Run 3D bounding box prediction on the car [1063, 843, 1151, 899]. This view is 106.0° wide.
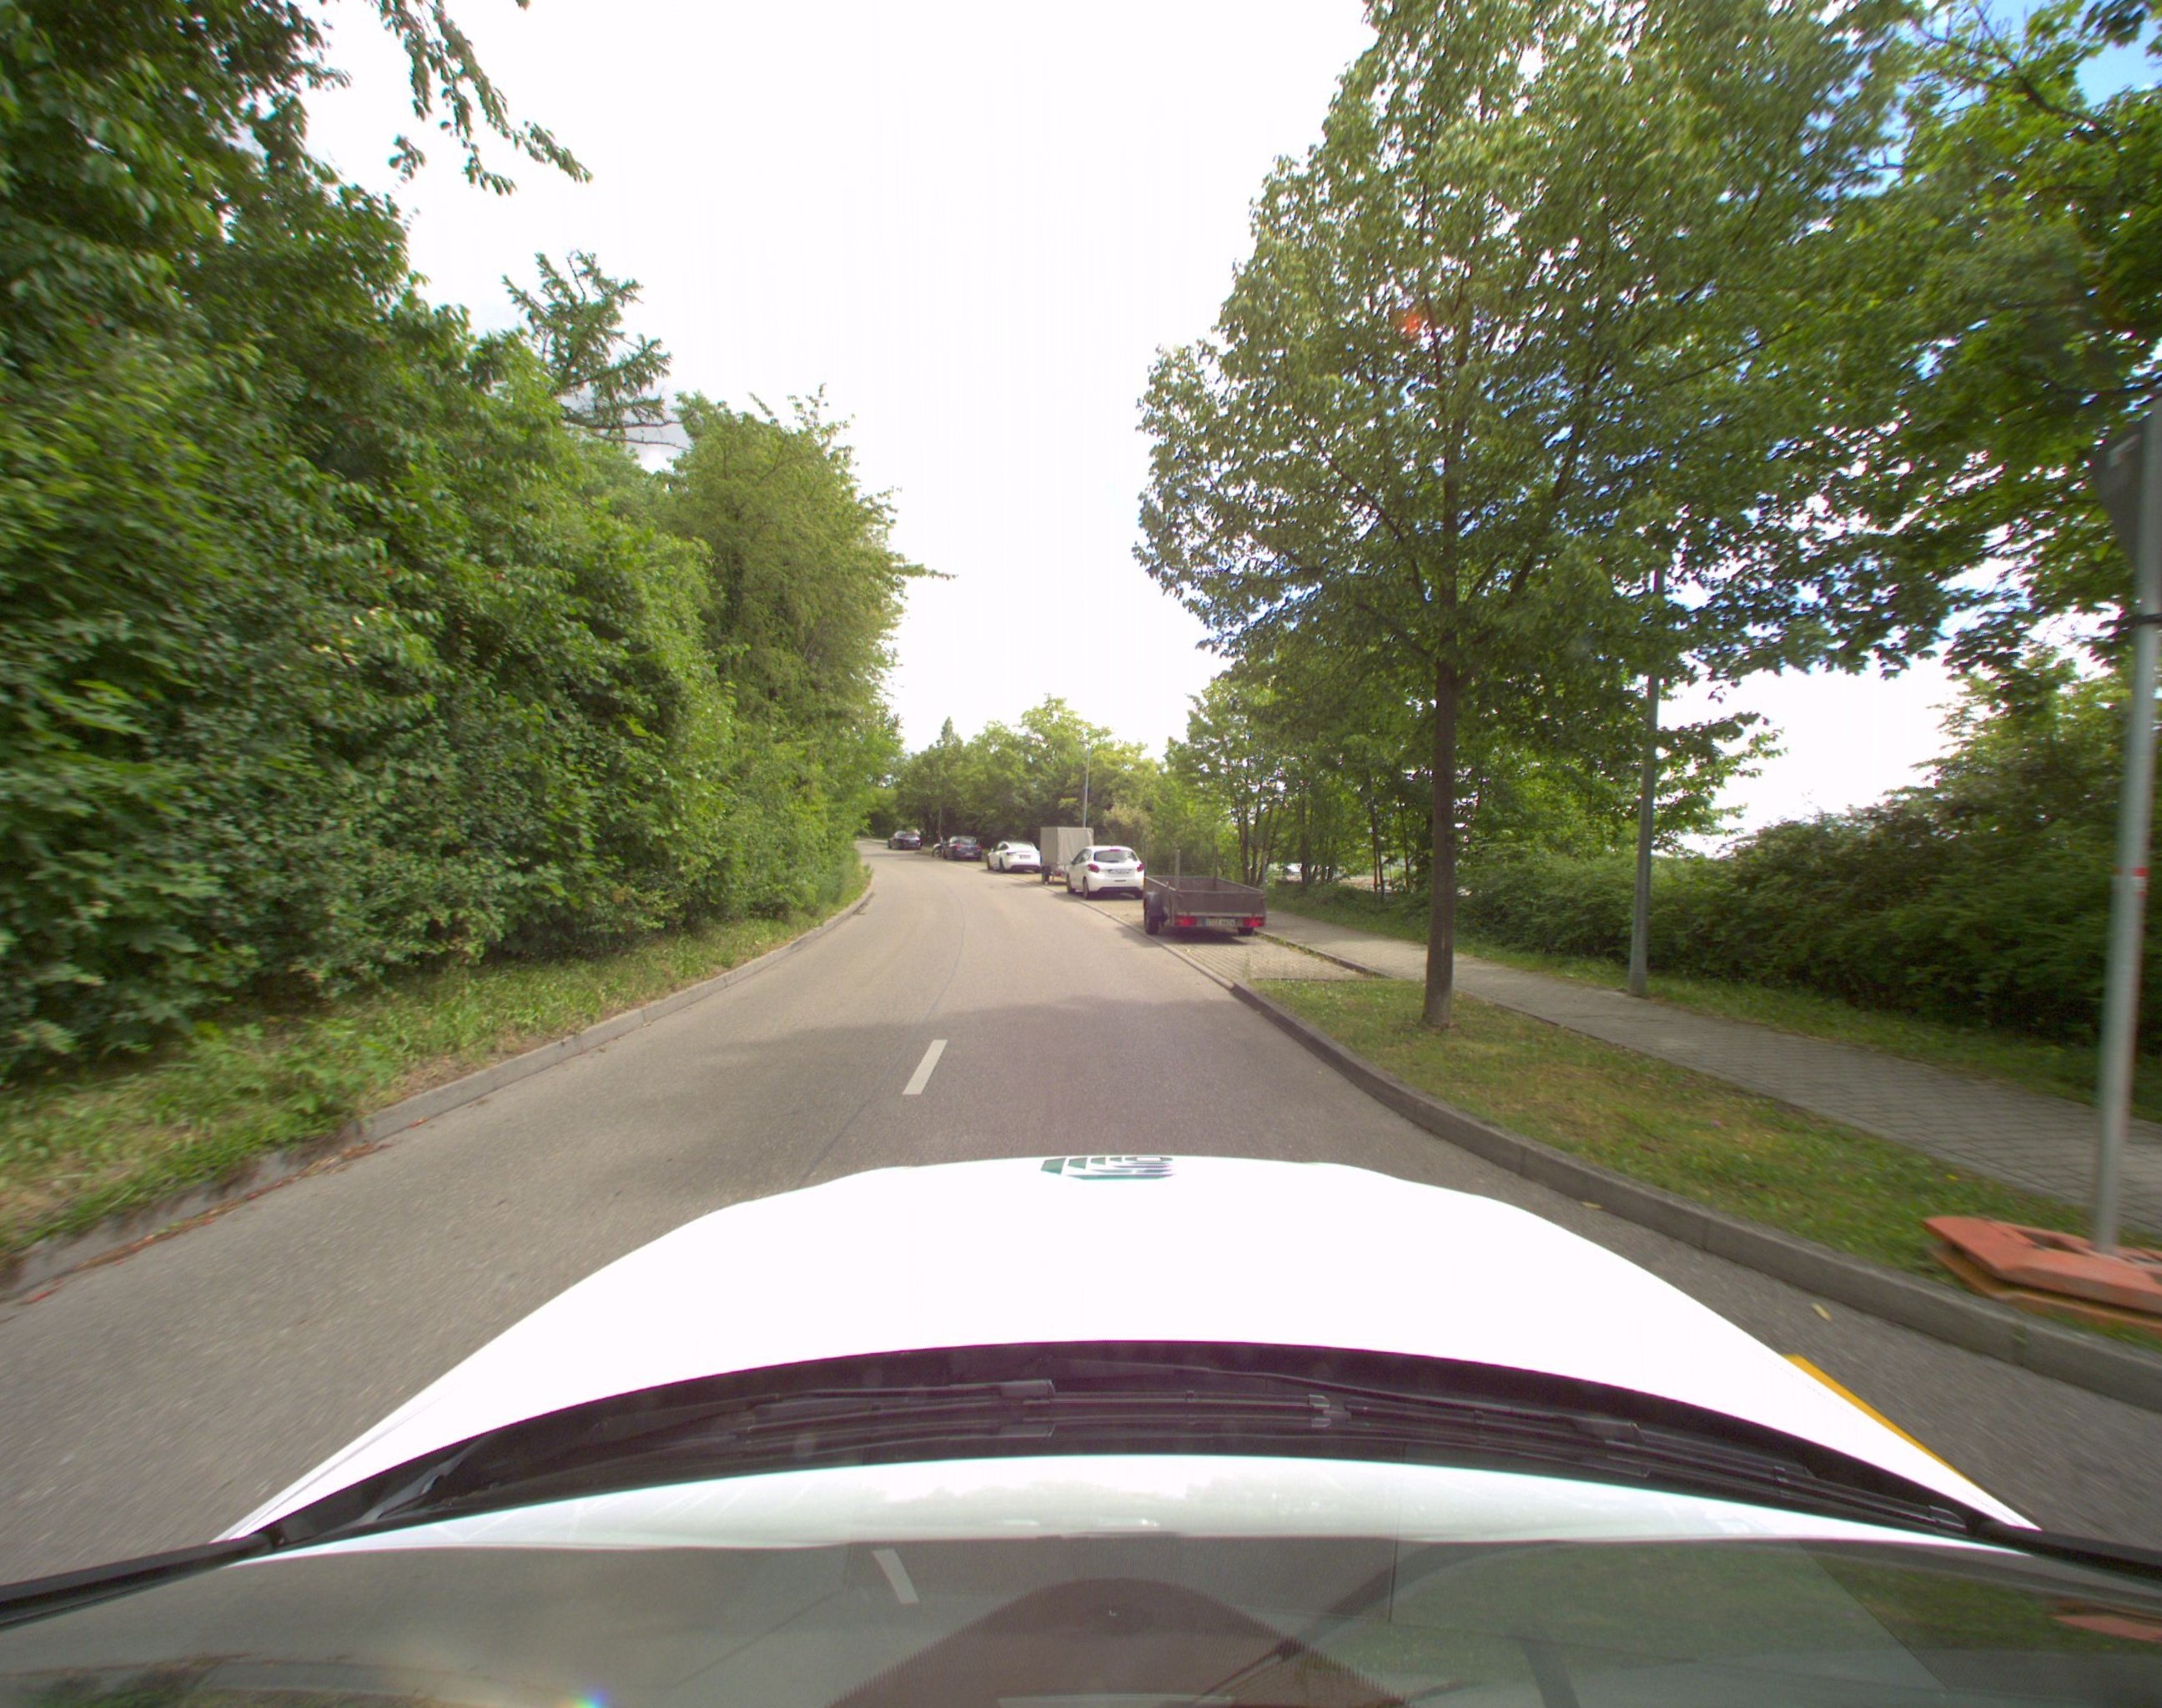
[{"bbox_3d":[0.670,0.431,23.857,1.769,1.411,3.987,0,2,-10],"label":"car"}]

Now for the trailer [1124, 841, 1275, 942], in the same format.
[{"bbox_3d":[1.957,0.565,14.680,1.782,1.526,3.993,1,1,-6],"label":"trailer"}]

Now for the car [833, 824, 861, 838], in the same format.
[{"bbox_3d":[-23.139,-2.322,80.511,1.852,1.332,3.965,0,2,-28],"label":"car"}]

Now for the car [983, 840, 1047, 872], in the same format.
[{"bbox_3d":[-3.148,0.057,38.077,1.892,1.376,4.323,1,1,-20],"label":"car"}]

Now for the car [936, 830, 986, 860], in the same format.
[{"bbox_3d":[-7.305,-0.573,49.411,1.895,1.687,4.318,-2,2,-24],"label":"car"}]

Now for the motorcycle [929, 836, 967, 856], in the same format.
[{"bbox_3d":[-8.581,-0.528,52.727,2.151,1.265,1.074,1,3,16],"label":"motorcycle"}]

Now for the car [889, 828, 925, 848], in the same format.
[{"bbox_3d":[-13.556,-1.257,63.328,1.850,1.516,3.968,0,2,-25],"label":"car"}]

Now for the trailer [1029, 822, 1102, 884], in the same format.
[{"bbox_3d":[-0.652,-0.087,30.257,1.743,2.111,3.979,0,1,-16],"label":"trailer"}]
